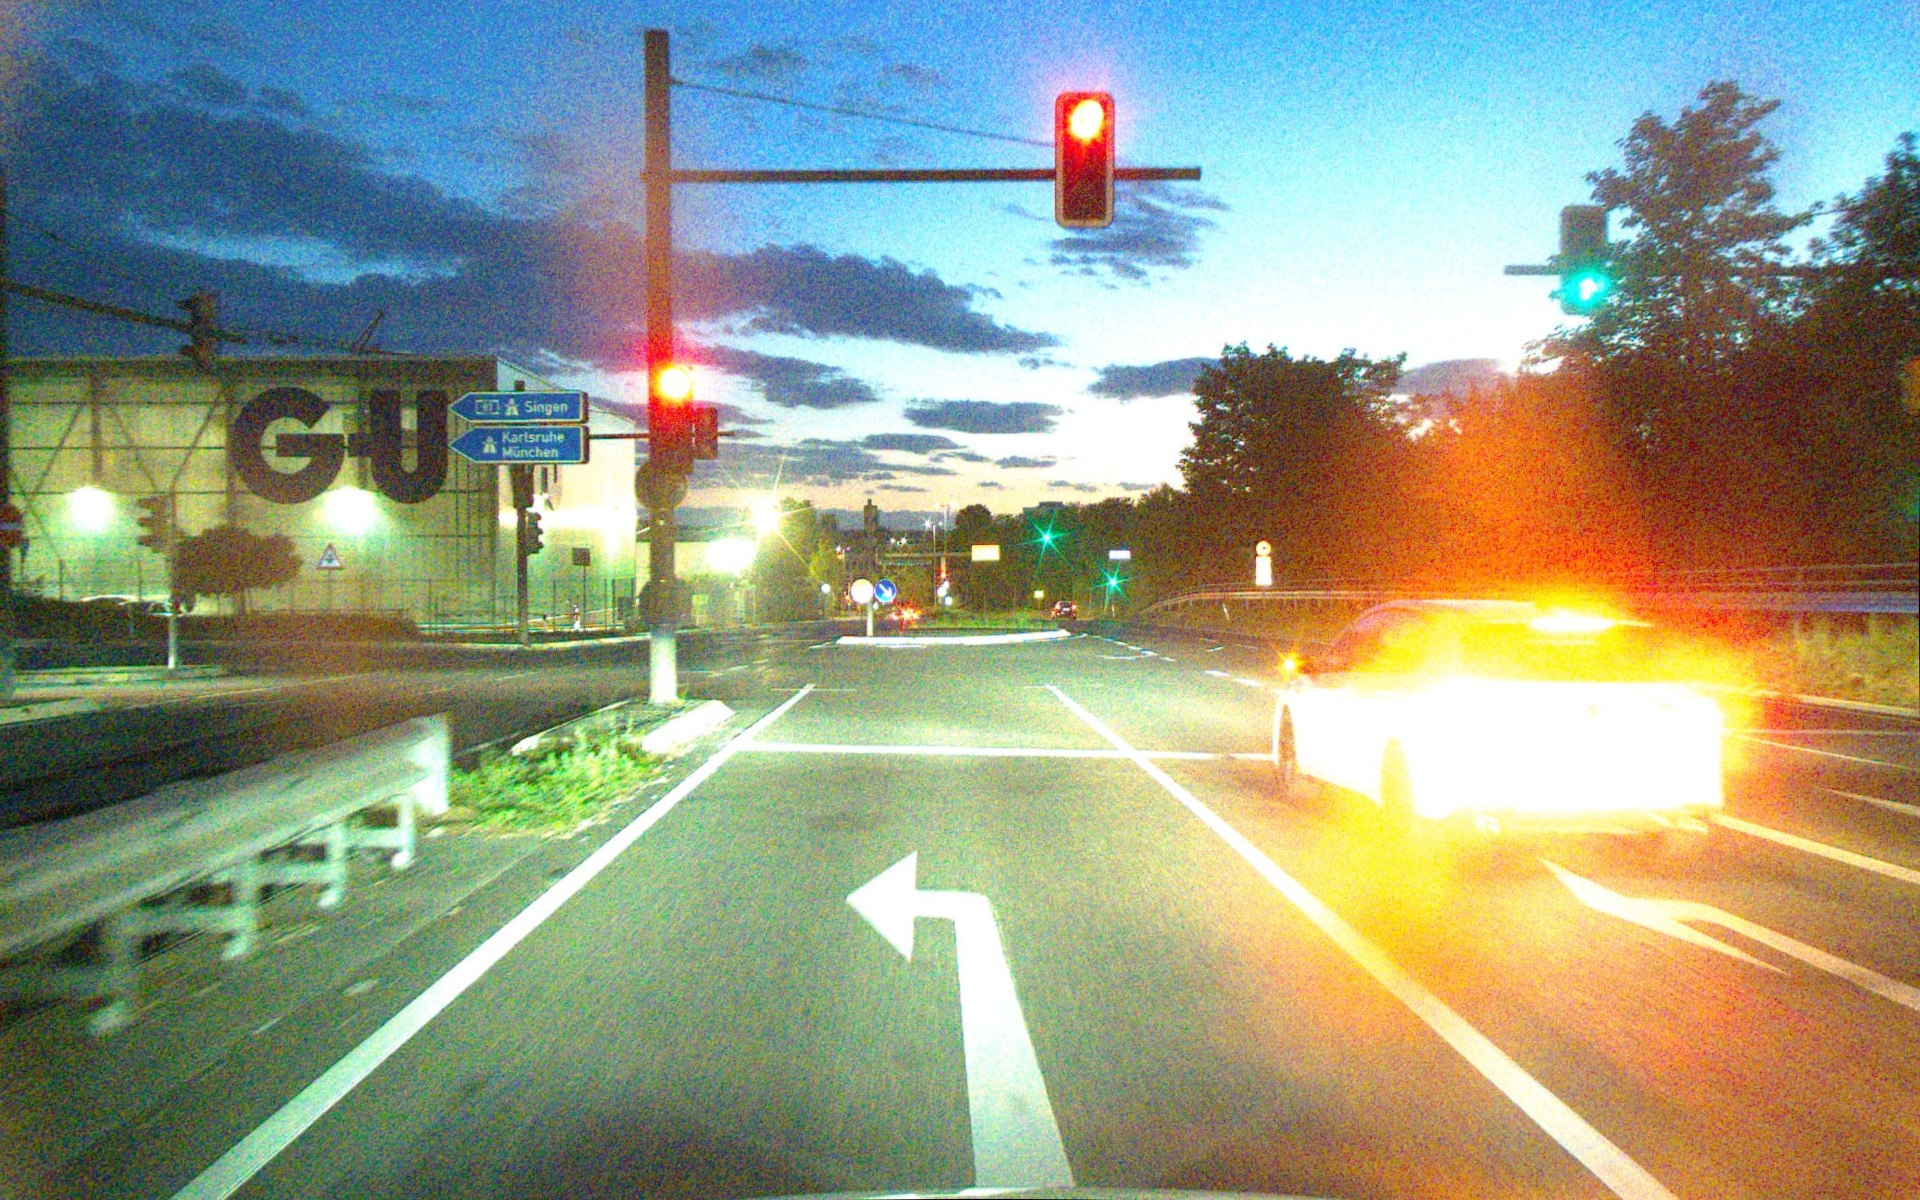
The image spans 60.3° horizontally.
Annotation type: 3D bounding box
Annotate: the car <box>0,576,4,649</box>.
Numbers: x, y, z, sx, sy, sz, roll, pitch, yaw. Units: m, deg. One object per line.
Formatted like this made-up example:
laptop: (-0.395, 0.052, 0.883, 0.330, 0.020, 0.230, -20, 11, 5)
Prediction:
car: (-28.923, 0.300, 46.075, 3.947, 2.049, 1.979, 1, 0, -31)

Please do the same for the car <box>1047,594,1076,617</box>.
car: (7.937, 0.394, 129.365, 1.896, 1.675, 3.999, -1, 1, -2)

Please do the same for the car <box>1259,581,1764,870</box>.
car: (3.261, 0.635, 10.717, 1.723, 1.485, 4.191, 1, 1, -2)
